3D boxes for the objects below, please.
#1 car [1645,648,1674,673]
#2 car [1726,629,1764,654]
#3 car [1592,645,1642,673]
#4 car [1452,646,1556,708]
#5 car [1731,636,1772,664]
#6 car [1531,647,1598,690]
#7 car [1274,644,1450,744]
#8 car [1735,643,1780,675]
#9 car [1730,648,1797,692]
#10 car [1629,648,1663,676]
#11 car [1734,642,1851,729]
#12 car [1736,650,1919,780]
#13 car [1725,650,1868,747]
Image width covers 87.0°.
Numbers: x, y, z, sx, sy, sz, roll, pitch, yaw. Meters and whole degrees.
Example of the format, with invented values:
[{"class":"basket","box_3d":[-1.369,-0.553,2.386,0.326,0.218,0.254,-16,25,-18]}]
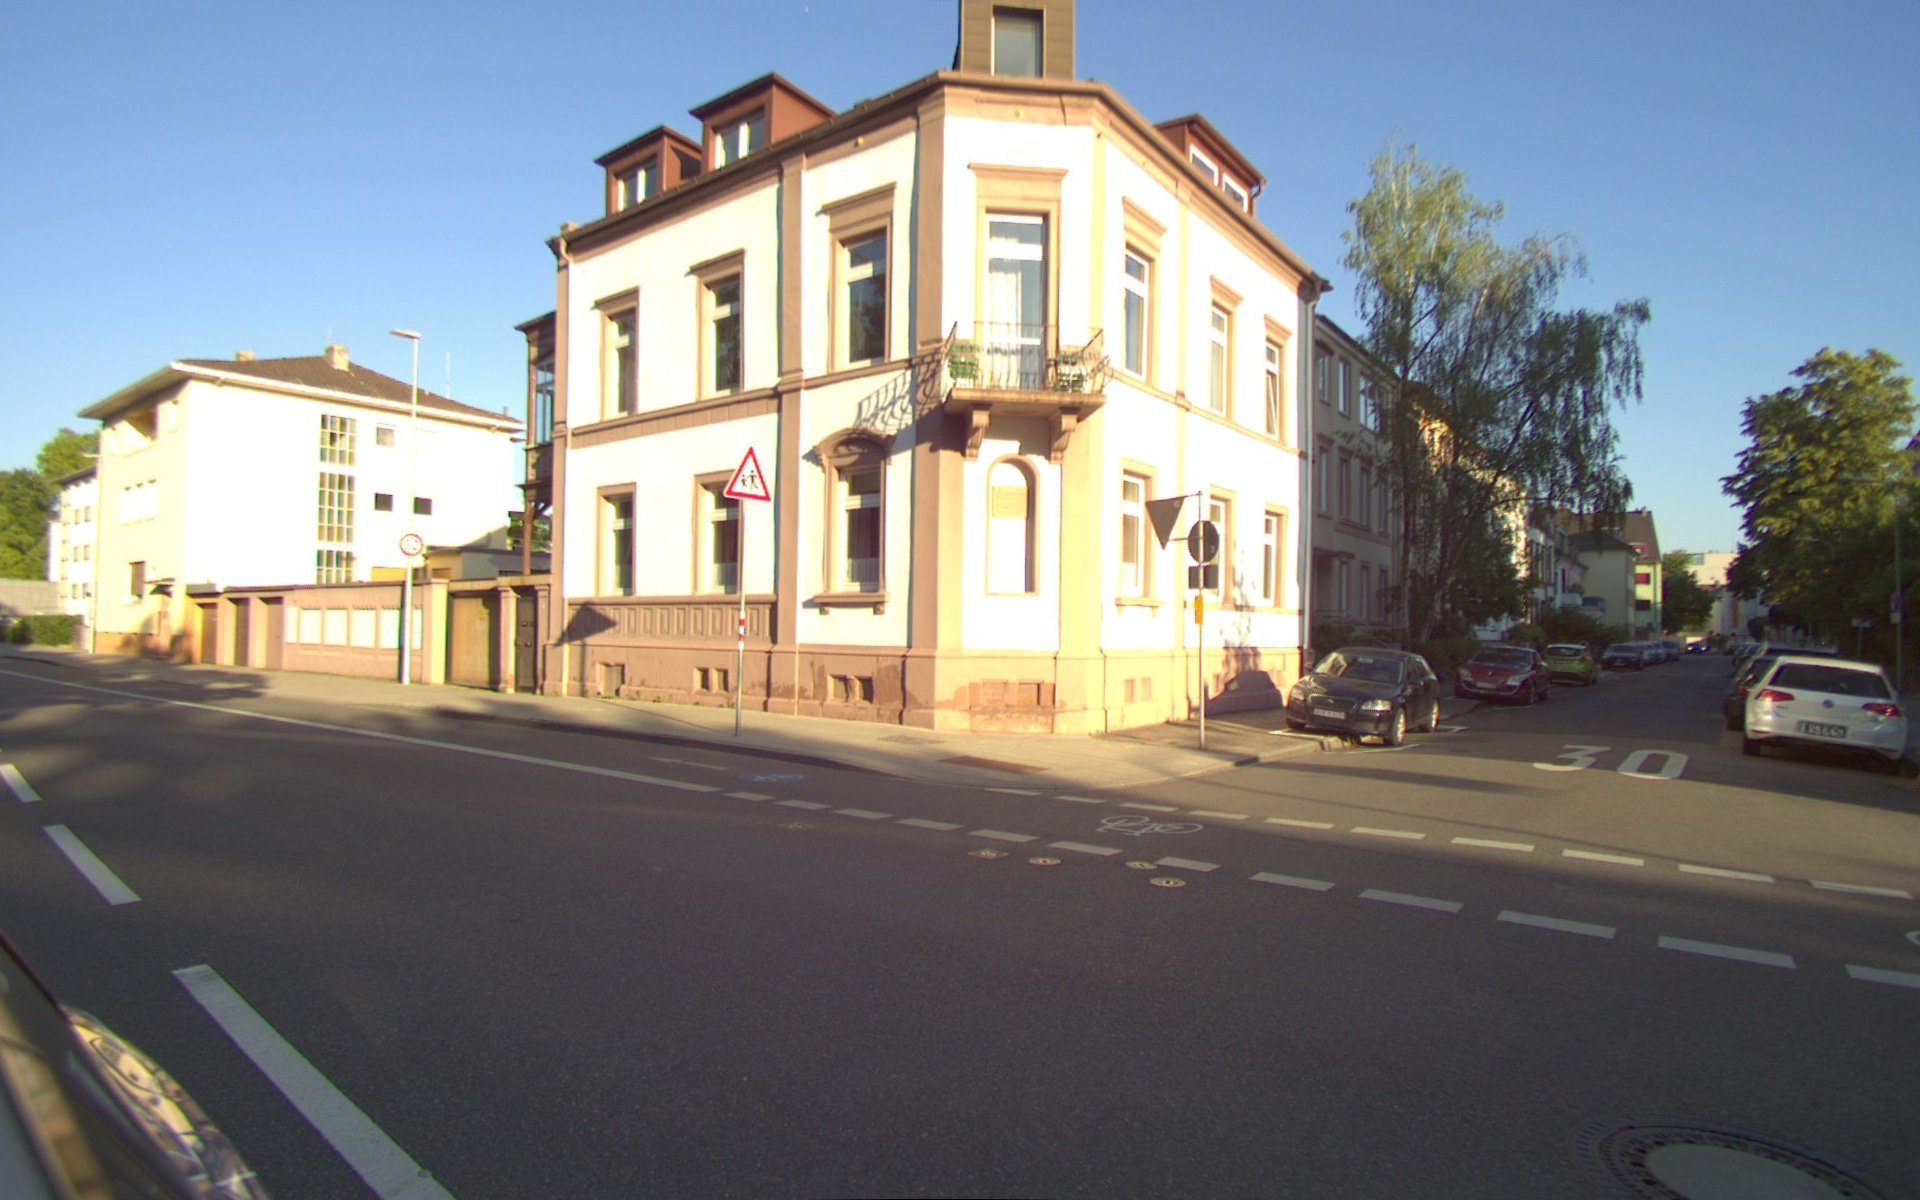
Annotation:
[{"class":"car","box_3d":[60.397,5.182,87.386,1.995,2.029,3.952,-1,-3,35]},{"class":"car","box_3d":[52.377,2.760,67.481,1.894,1.652,3.693,-1,-3,39]},{"class":"car","box_3d":[36.118,3.234,55.613,1.902,1.449,3.867,-1,-3,39]},{"class":"car","box_3d":[14.305,1.947,26.512,1.901,1.449,3.871,-1,-2,36]},{"class":"car","box_3d":[48.609,3.040,62.121,1.894,1.652,3.693,-1,-3,39]},{"class":"car","box_3d":[22.353,2.486,37.374,1.900,1.449,3.872,-1,-3,35]},{"class":"car","box_3d":[6.920,1.495,17.216,1.901,1.449,3.871,-1,-2,36]},{"class":"car","box_3d":[44.073,3.223,55.912,1.894,1.652,3.693,-1,-3,39]},{"class":"car","box_3d":[30.476,2.604,38.398,1.894,1.548,3.693,-1,-3,39]},{"class":"car","box_3d":[51.371,4.599,75.765,1.995,2.029,3.952,-1,-3,35]},{"class":"car","box_3d":[18.223,1.796,22.213,1.752,1.568,3.867,5,1,39]},{"class":"car","box_3d":[12.641,1.553,14.824,1.817,1.449,3.867,5,1,39]},{"class":"car","box_3d":[15.102,1.687,18.348,1.752,1.387,3.867,5,1,39]}]
